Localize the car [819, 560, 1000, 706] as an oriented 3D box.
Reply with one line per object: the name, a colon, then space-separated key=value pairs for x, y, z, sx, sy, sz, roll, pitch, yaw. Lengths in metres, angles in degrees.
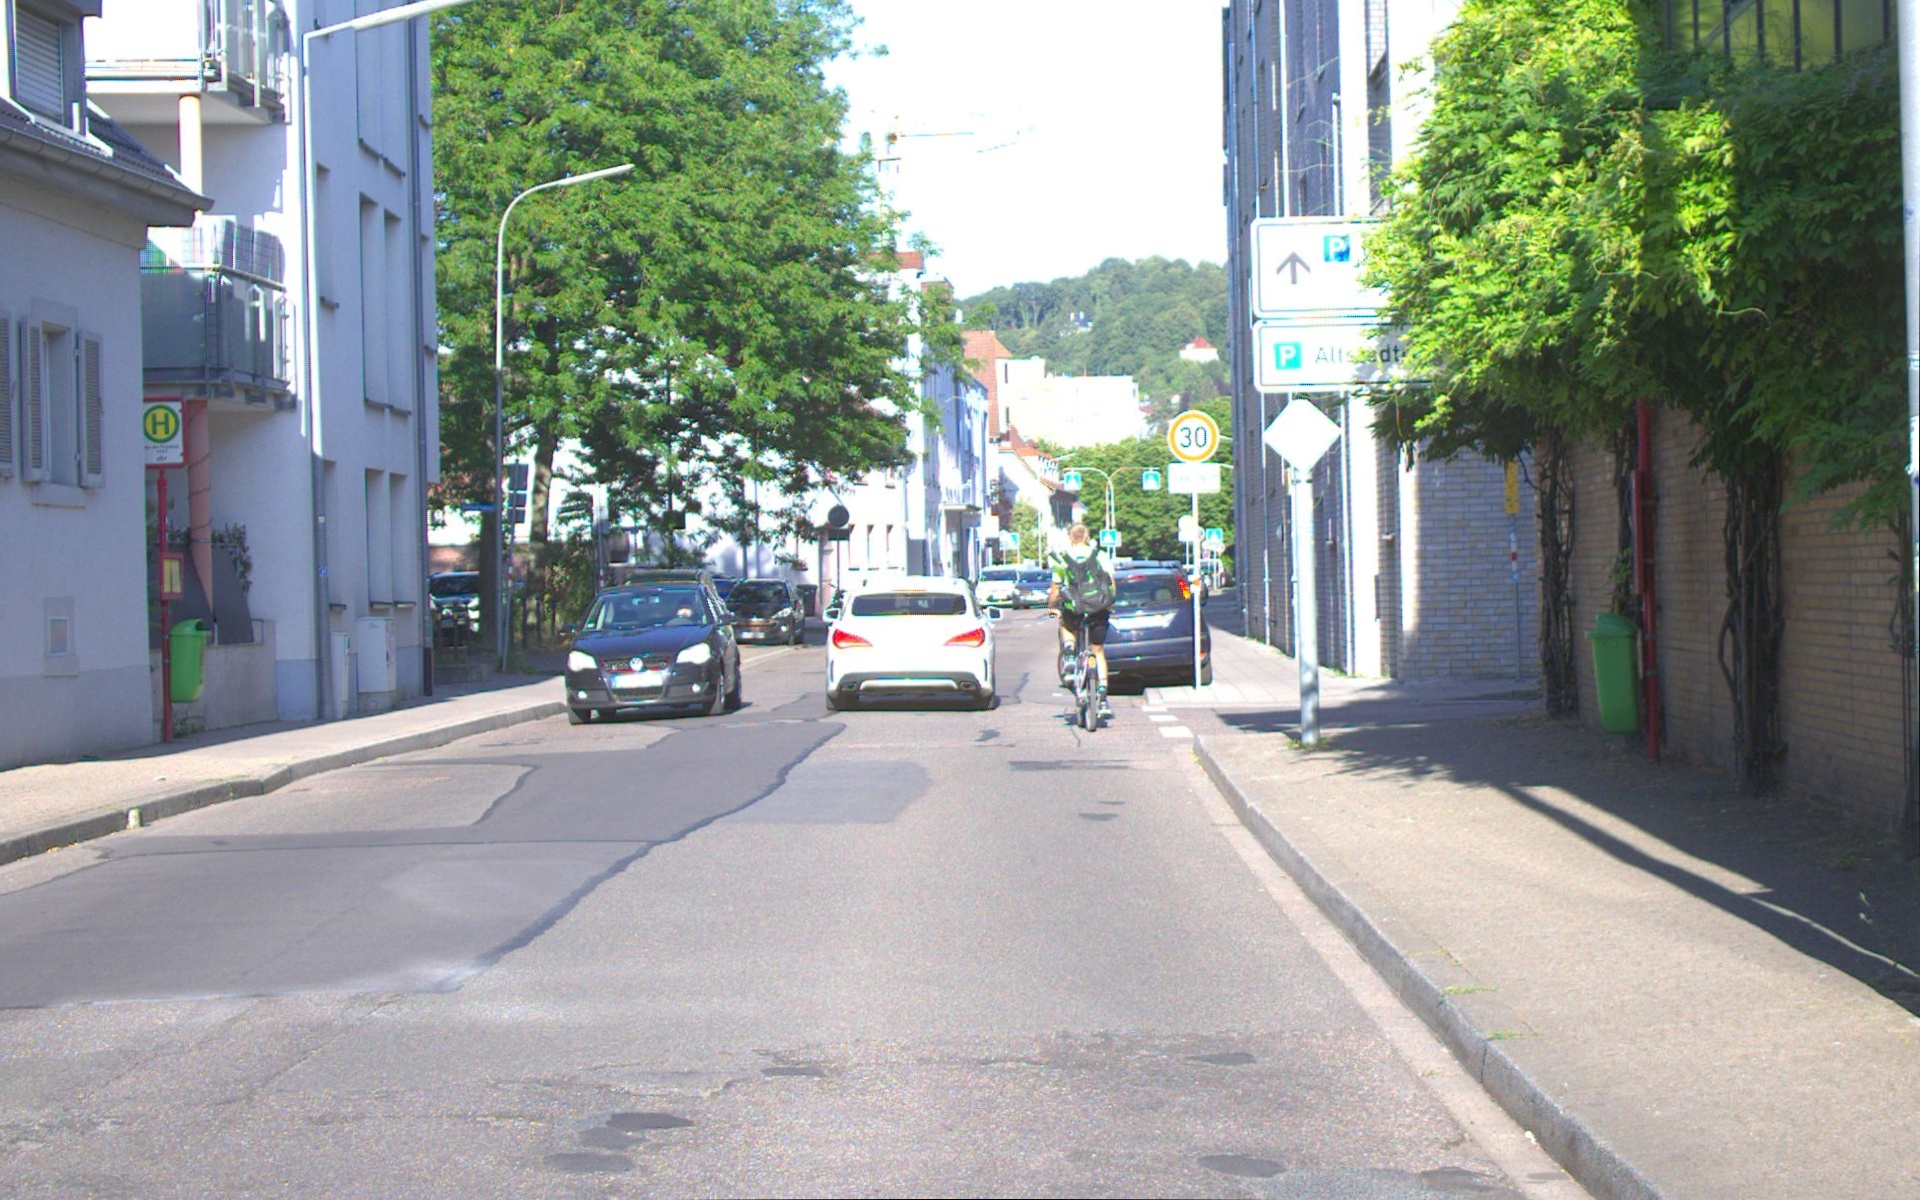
car: x=-0.547 y=0.336 z=37.138 sx=1.842 sy=1.486 sz=4.144 roll=0 pitch=0 yaw=-1

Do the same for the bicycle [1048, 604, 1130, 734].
bicycle: x=1.151 y=0.597 z=31.100 sx=0.698 sy=1.126 sz=2.402 roll=0 pitch=0 yaw=1

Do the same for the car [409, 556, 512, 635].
car: x=-11.209 y=-0.118 z=77.352 sx=1.790 sy=1.684 sz=3.965 roll=2 pitch=1 yaw=-1

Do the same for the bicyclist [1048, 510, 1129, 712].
bicyclist: x=1.151 y=0.098 z=30.965 sx=0.698 sy=1.784 sz=1.040 roll=0 pitch=0 yaw=1

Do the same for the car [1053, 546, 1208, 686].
car: x=2.094 y=0.189 z=43.120 sx=1.629 sy=1.581 sz=4.069 roll=-3 pitch=0 yaw=0

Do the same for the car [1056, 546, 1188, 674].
car: x=2.206 y=0.107 z=47.646 sx=1.664 sy=1.696 sz=3.914 roll=0 pitch=1 yaw=0

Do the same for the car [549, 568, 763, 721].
car: x=-3.235 y=0.457 z=37.296 sx=1.842 sy=1.486 sz=4.144 roll=-3 pitch=0 yaw=1

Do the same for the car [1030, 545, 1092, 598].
car: x=3.456 y=-0.983 z=118.425 sx=1.853 sy=1.785 sz=4.608 roll=0 pitch=1 yaw=-2

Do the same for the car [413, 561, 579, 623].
car: x=-11.776 y=-0.217 z=87.421 sx=3.902 sy=1.570 sz=1.709 roll=0 pitch=1 yaw=6

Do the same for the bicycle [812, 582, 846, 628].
bicycle: x=-3.575 y=0.130 z=94.128 sx=0.835 sy=1.213 sz=2.842 roll=0 pitch=1 yaw=0

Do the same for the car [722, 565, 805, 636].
car: x=-4.485 y=-0.014 z=78.837 sx=1.704 sy=1.570 sz=3.914 roll=0 pitch=1 yaw=0

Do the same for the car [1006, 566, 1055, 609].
car: x=2.652 y=-0.466 z=128.526 sx=1.664 sy=1.570 sz=3.913 roll=0 pitch=1 yaw=3

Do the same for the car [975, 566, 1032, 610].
car: x=1.718 y=-0.457 z=134.441 sx=1.945 sy=1.581 sz=4.621 roll=-3 pitch=0 yaw=3
